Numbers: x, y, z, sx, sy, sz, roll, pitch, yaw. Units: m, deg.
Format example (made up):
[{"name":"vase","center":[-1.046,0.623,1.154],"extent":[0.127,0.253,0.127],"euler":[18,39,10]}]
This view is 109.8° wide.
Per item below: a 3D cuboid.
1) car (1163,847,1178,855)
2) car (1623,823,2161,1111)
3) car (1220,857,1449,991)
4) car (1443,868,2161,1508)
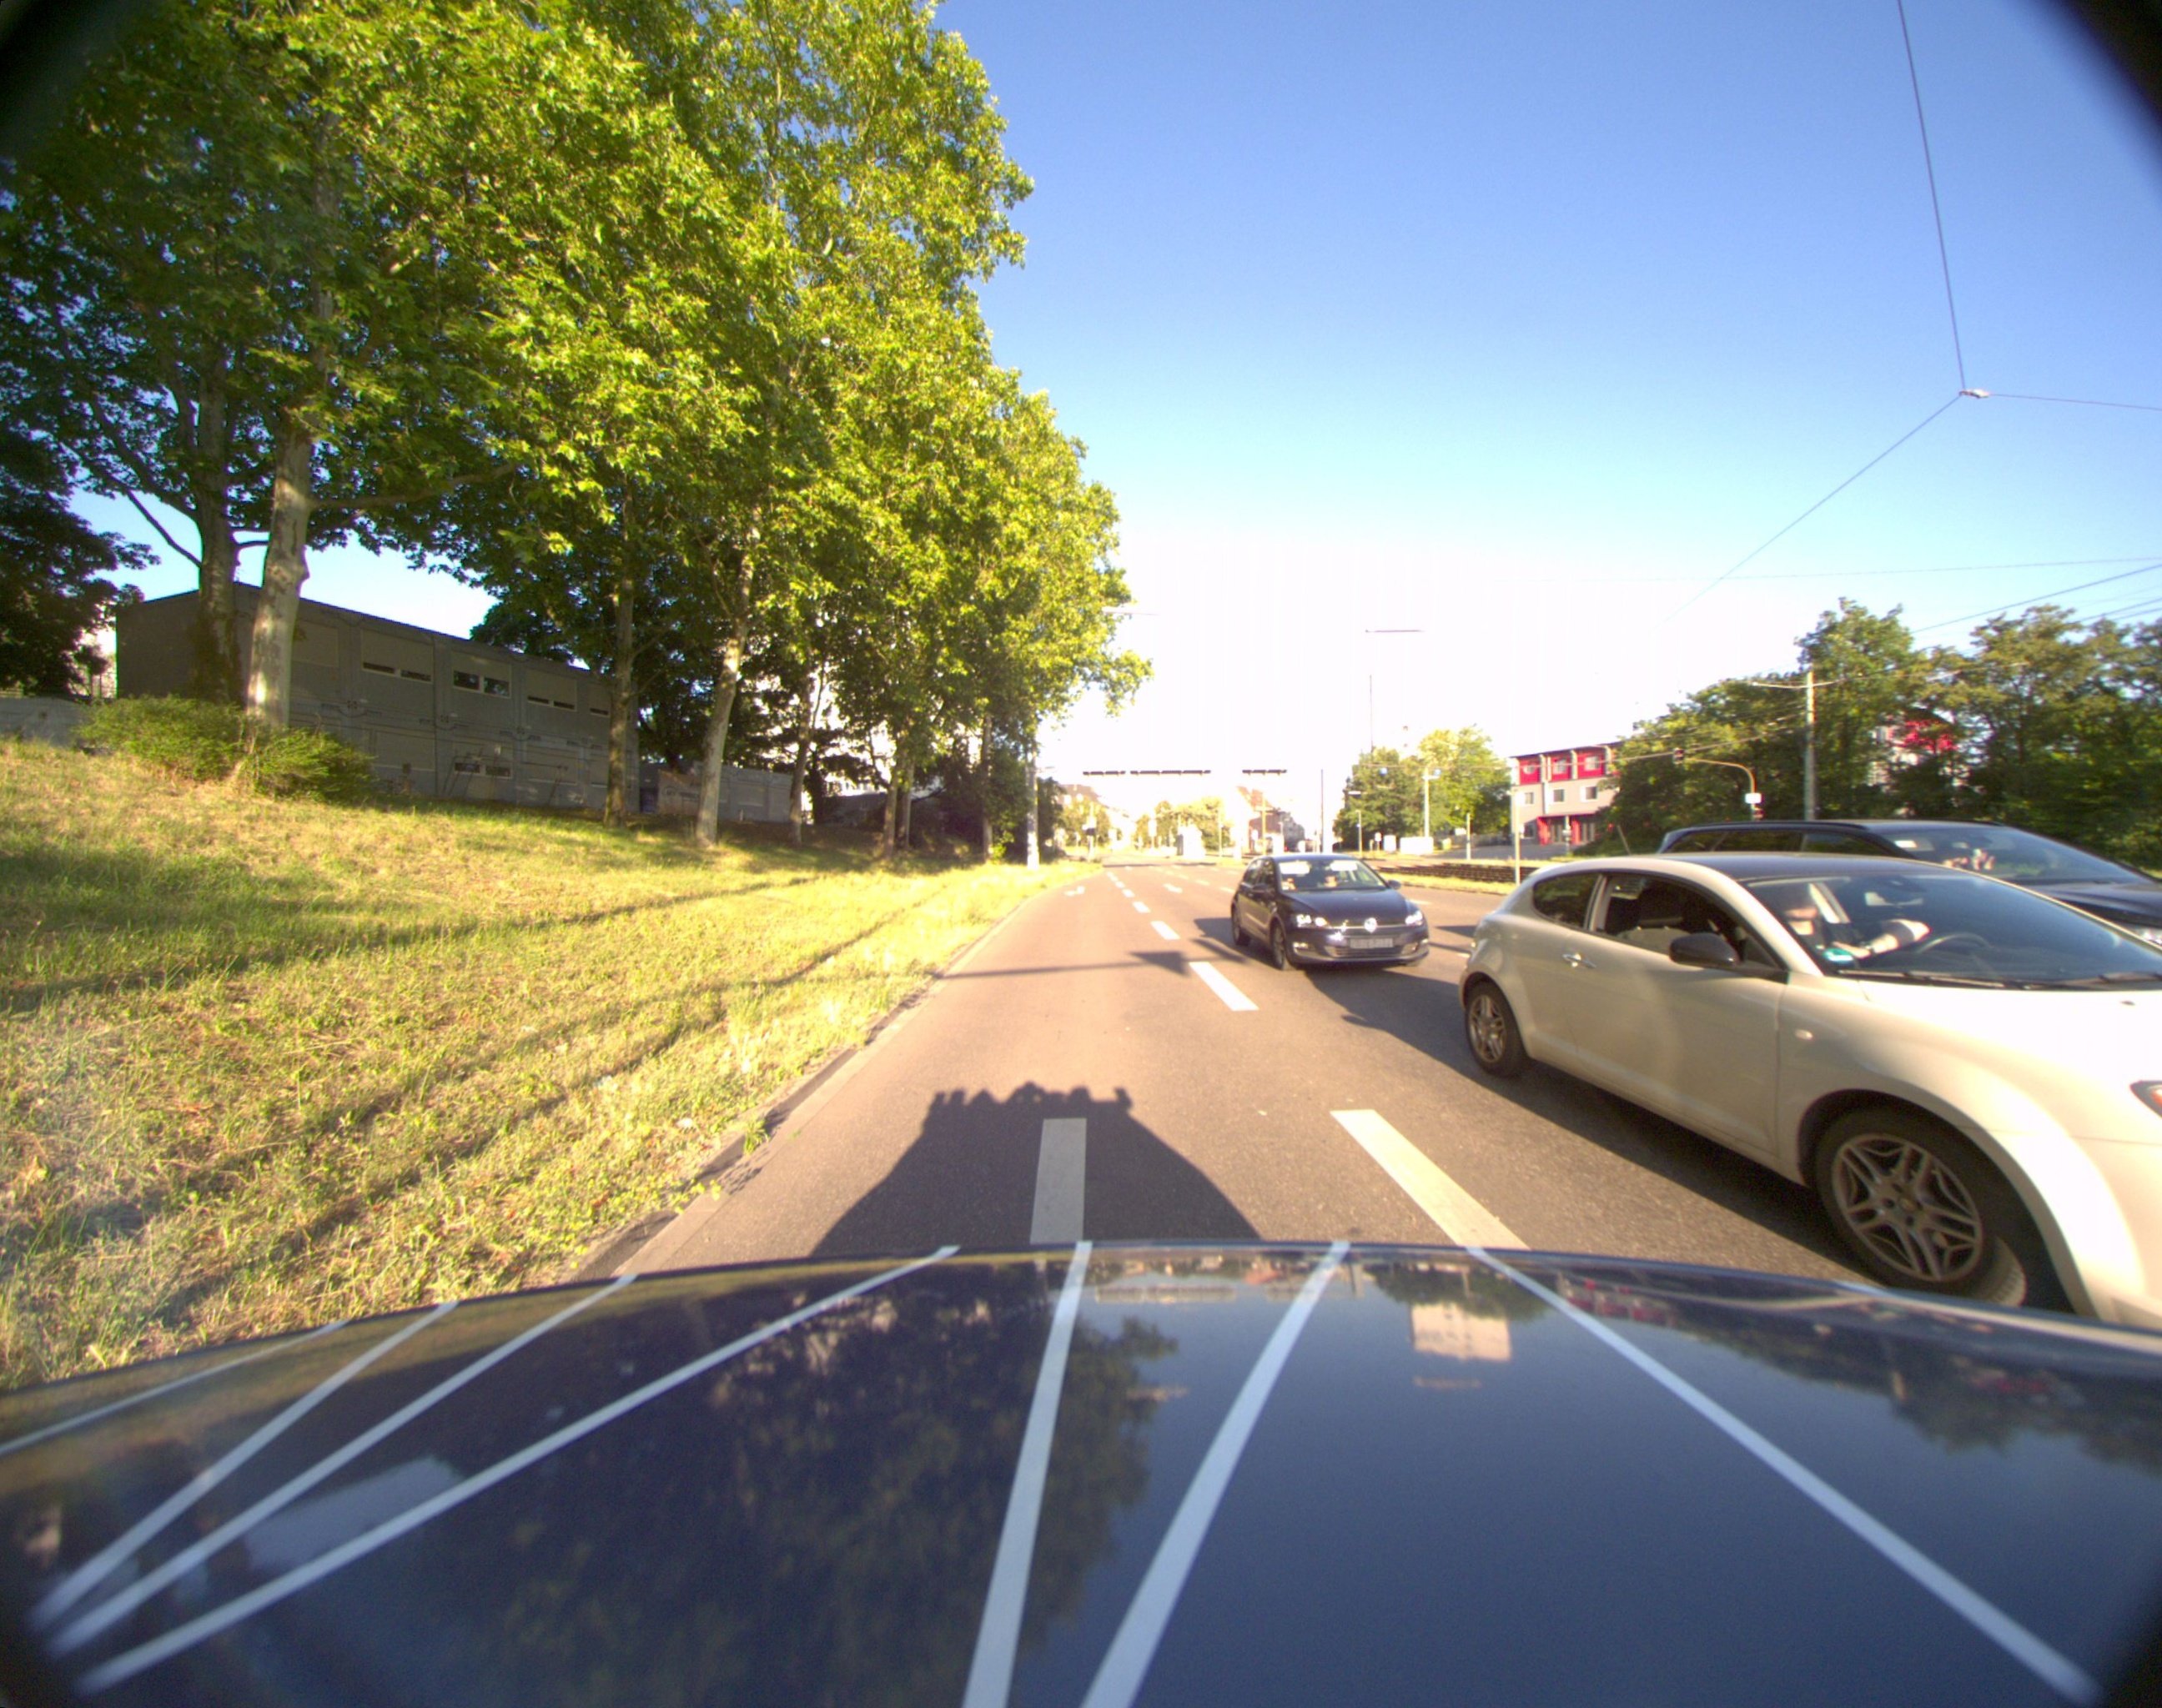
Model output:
[{"name":"car","center":[20.118,-0.706,170.559],"extent":[1.995,1.807,4.007],"euler":[-2,1,31]},{"name":"car","center":[7.226,0.606,6.580],"extent":[1.920,1.639,4.602],"euler":[-1,0,2]},{"name":"car","center":[3.200,0.789,10.458],"extent":[1.782,1.422,3.923],"euler":[-2,0,-1]},{"name":"car","center":[3.420,0.843,3.413],"extent":[1.665,1.422,3.923],"euler":[-2,0,-1]}]
